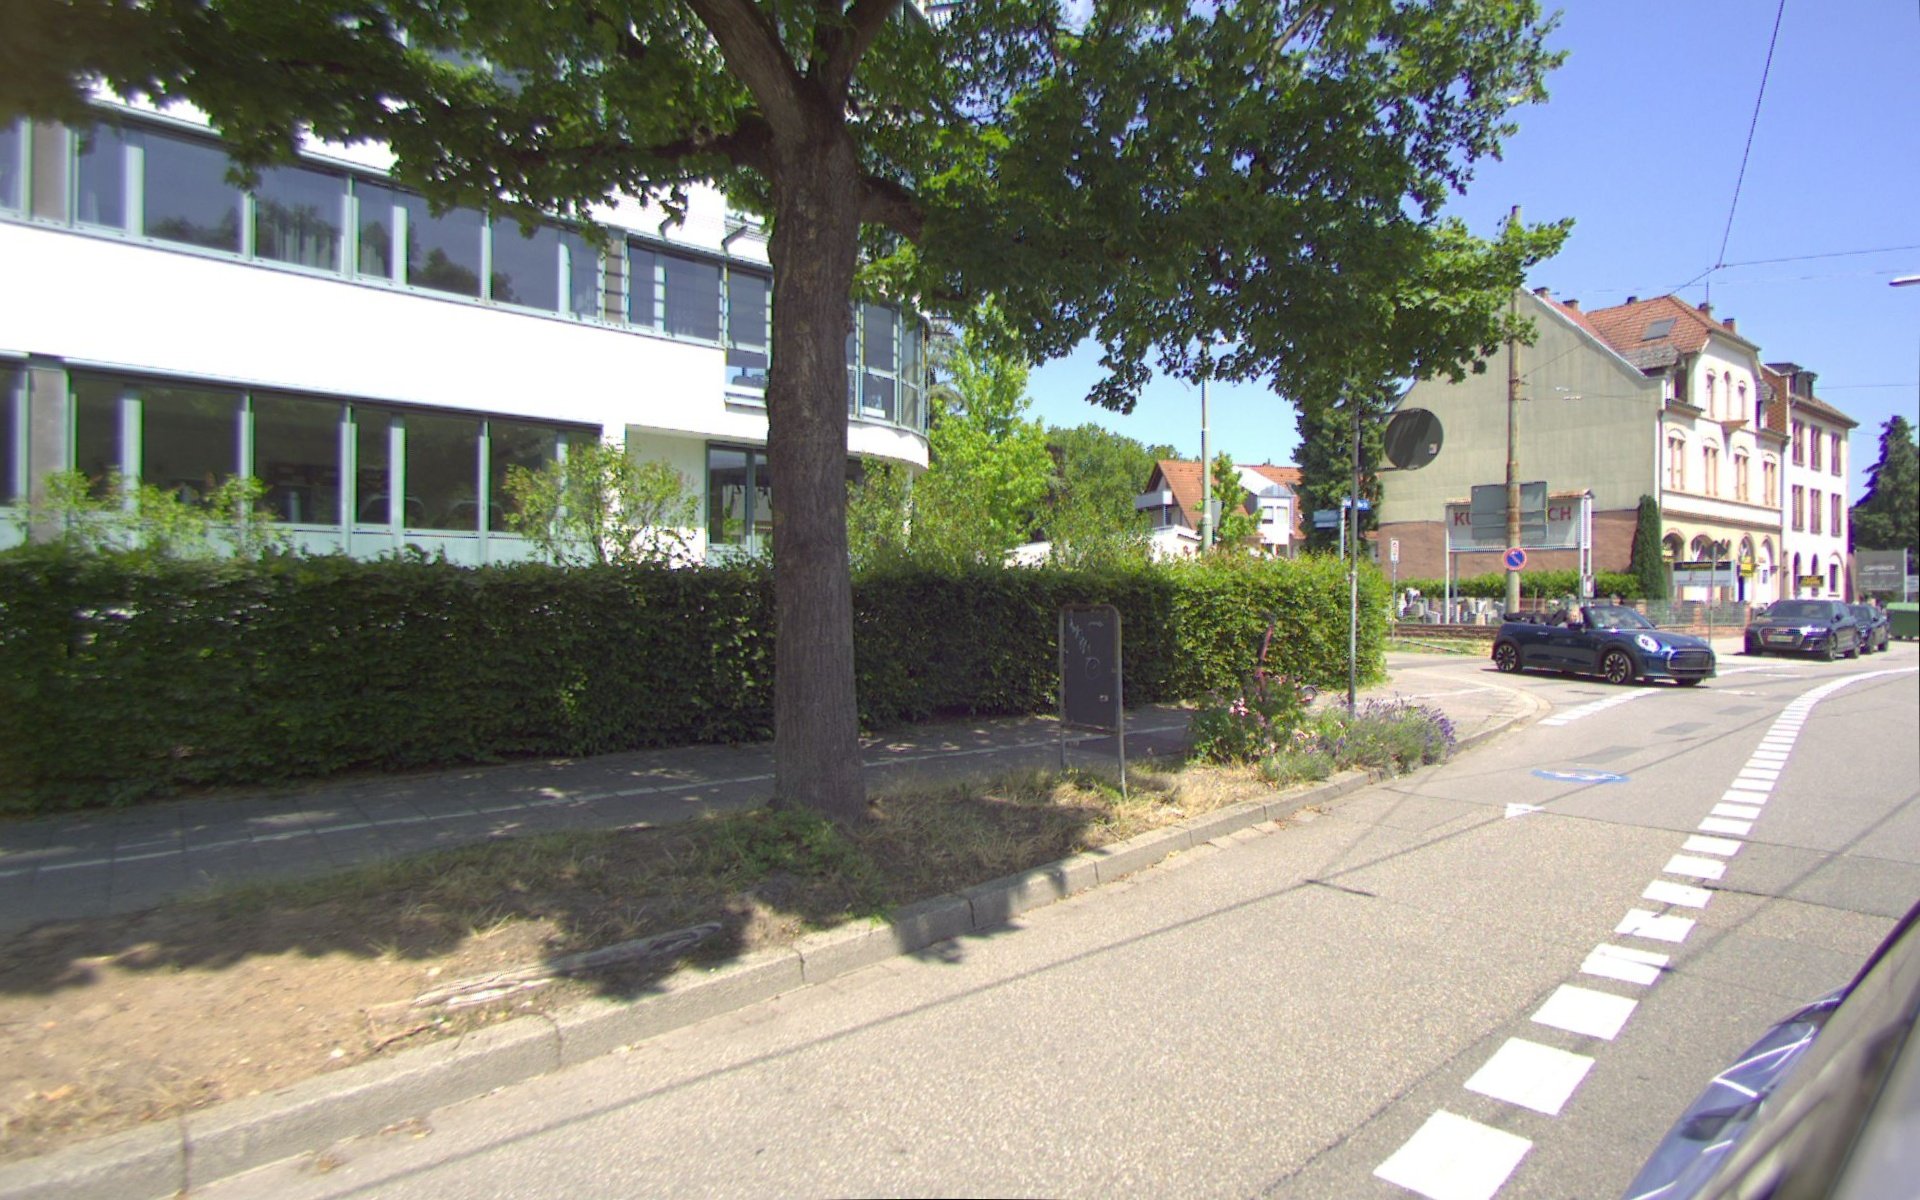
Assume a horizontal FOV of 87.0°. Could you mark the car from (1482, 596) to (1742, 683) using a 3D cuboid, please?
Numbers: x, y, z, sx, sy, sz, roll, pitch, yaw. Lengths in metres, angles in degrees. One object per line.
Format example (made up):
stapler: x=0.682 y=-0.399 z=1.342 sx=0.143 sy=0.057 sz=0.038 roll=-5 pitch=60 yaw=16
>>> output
car: x=11.851 y=0.644 z=18.724 sx=1.667 sy=1.389 sz=3.935 roll=0 pitch=1 yaw=-15

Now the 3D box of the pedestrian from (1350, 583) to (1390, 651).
pedestrian: x=10.413 y=0.425 z=25.711 sx=0.833 sy=1.688 sz=0.726 roll=-1 pitch=-1 yaw=30

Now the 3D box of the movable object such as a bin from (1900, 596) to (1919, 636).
movable object such as a bin: x=36.889 y=0.622 z=38.656 sx=1.040 sy=1.473 sz=1.325 roll=0 pitch=2 yaw=-42

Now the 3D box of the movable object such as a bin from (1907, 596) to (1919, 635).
movable object such as a bin: x=37.715 y=0.609 z=39.321 sx=1.040 sy=1.473 sz=1.249 roll=0 pitch=2 yaw=-42

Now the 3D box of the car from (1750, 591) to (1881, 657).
car: x=24.669 y=0.619 z=29.124 sx=4.989 sy=1.714 sz=1.929 roll=0 pitch=2 yaw=-39

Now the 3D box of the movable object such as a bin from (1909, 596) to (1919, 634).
movable object such as a bin: x=38.551 y=0.605 z=39.997 sx=1.120 sy=1.473 sz=1.394 roll=0 pitch=2 yaw=-42

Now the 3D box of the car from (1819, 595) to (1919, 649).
car: x=29.831 y=0.662 z=33.183 sx=4.388 sy=1.567 sz=1.776 roll=-1 pitch=2 yaw=-39

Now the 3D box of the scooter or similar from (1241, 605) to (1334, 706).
scooter or similar: x=4.195 y=0.695 z=12.950 sx=1.127 sy=1.238 sz=0.327 roll=0 pitch=-2 yaw=-18
